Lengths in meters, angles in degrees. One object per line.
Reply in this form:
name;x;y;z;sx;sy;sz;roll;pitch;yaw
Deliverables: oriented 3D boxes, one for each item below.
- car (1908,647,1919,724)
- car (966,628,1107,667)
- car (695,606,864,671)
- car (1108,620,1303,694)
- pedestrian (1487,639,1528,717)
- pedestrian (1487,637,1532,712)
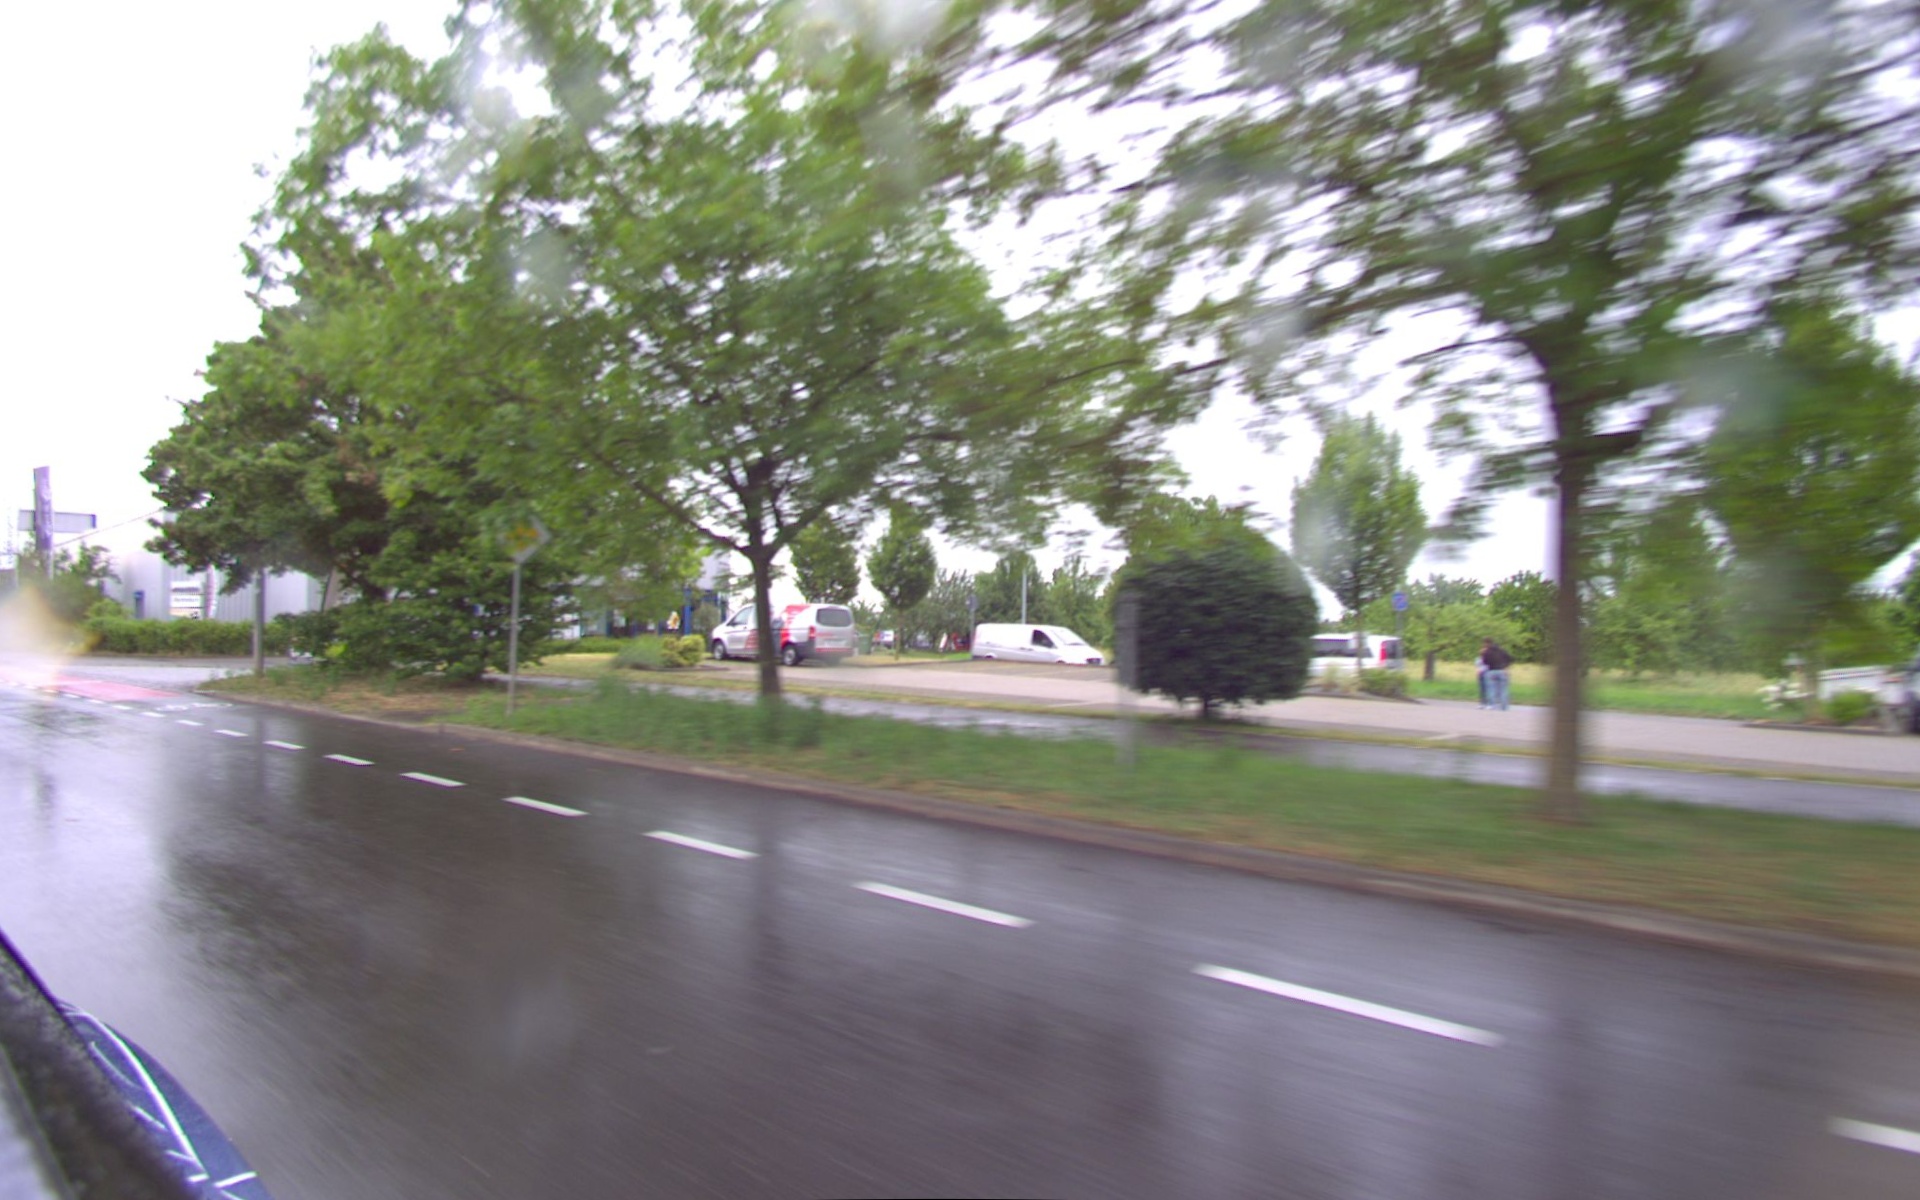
car;16.192;1.416;15.721;1.702;1.253;3.369;-2;-1;37
car;2.627;1.631;35.503;4.654;1.239;1.961;-2;-1;40
car;-5.660;1.178;31.236;5.604;1.836;2.013;-2;-2;40
car;5.910;1.312;24.693;4.169;1.568;2.090;0;-1;45
pedestrian;13.310;1.883;24.609;0.764;1.851;0.676;-2;-2;34
pedestrian;13.897;1.880;25.615;0.757;1.851;0.682;-1;-1;10
